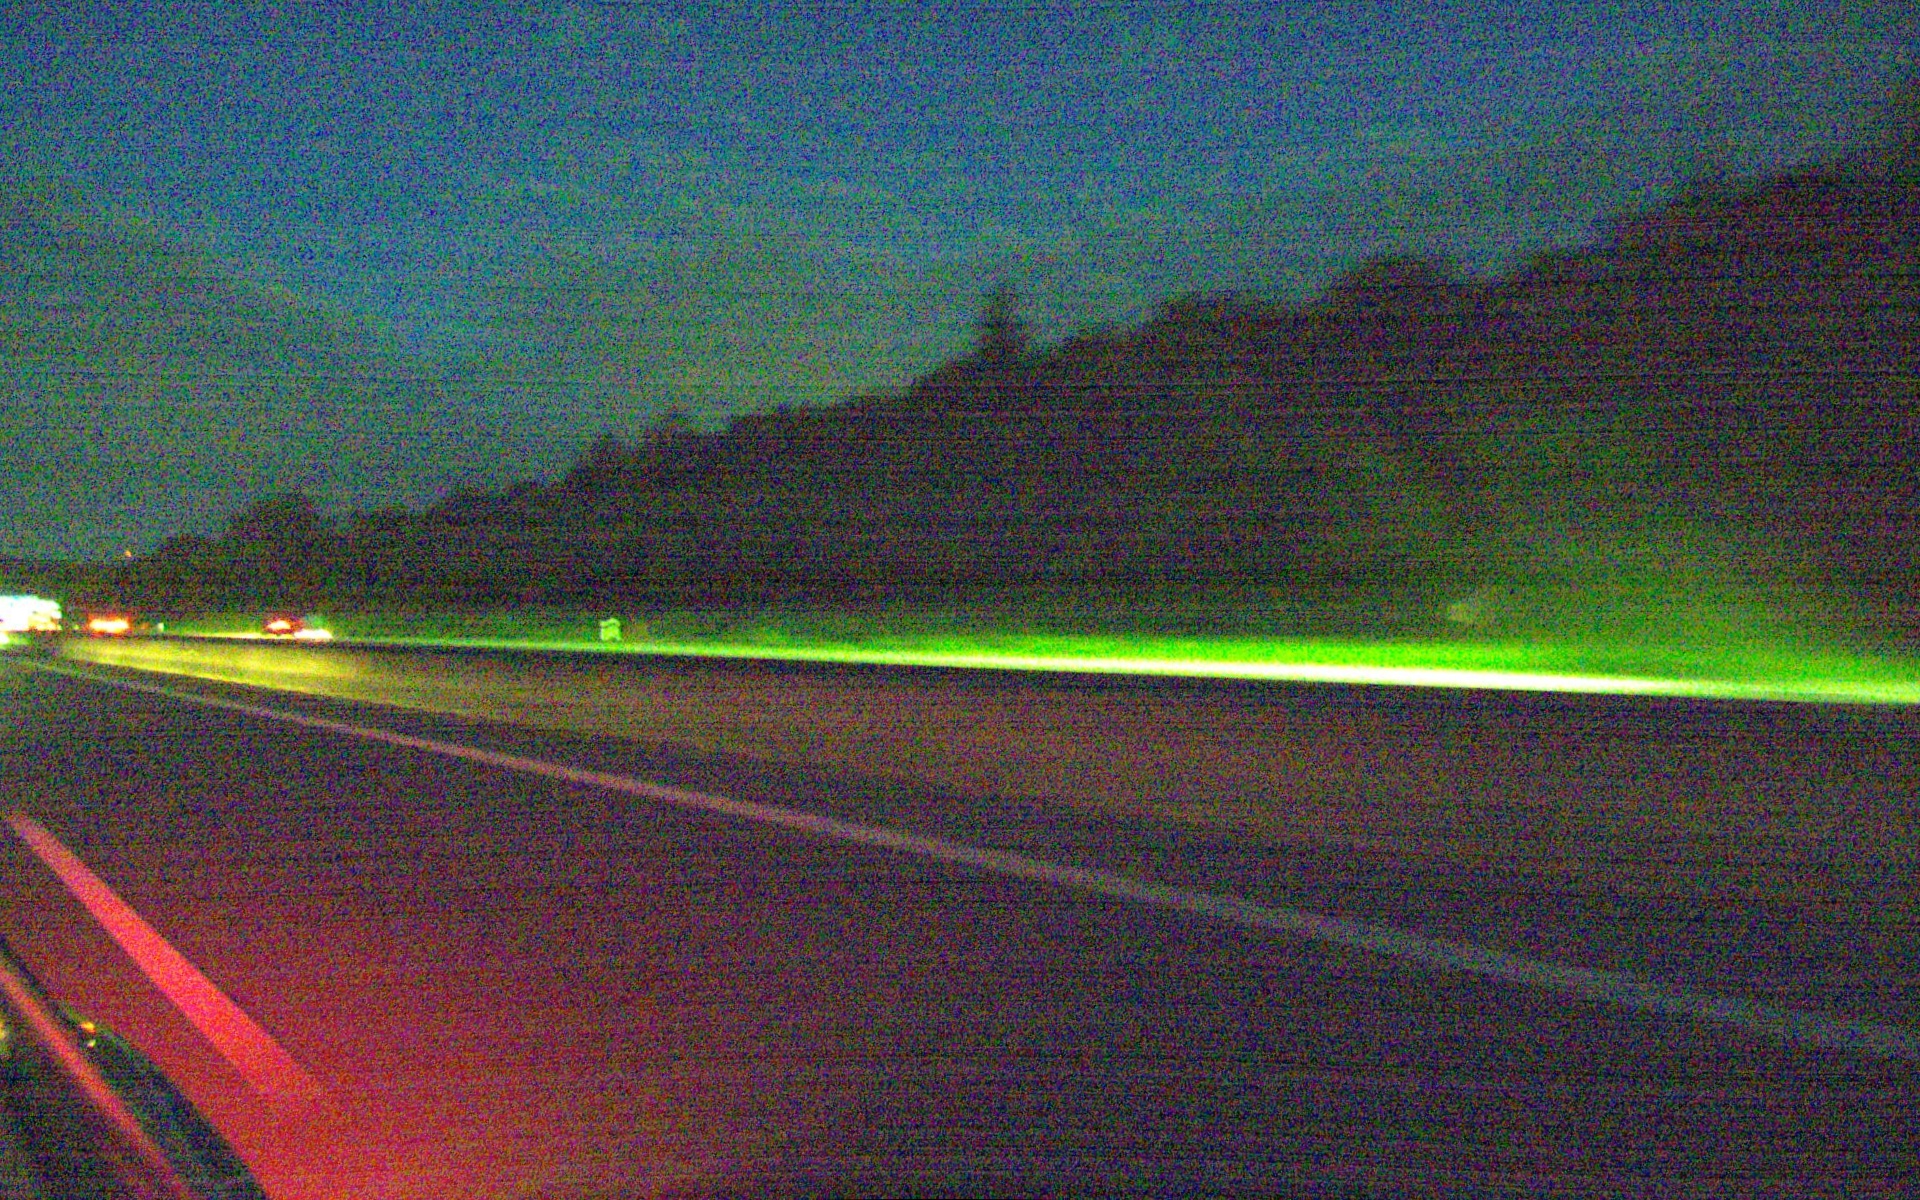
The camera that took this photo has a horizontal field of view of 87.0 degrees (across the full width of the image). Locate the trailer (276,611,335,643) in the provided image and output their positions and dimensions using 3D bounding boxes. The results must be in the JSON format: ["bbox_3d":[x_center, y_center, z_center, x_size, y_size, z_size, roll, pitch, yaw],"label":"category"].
[{"bbox_3d":[-37.892,1.533,58.569,3.843,1.760,1.876,-1,-1,42],"label":"trailer"}]

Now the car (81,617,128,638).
[{"bbox_3d":[-70.579,2.270,83.499,4.885,1.610,2.221,-2,-1,41],"label":"car"}]

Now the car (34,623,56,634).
[{"bbox_3d":[-148.620,4.682,164.409,4.886,1.681,2.220,-2,-1,42],"label":"car"}]

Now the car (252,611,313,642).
[{"bbox_3d":[-41.181,1.611,61.491,4.878,1.760,1.894,-1,-1,41],"label":"car"}]

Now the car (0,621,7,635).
[{"bbox_3d":[-117.334,3.444,122.724,4.886,1.732,2.220,-2,-1,42],"label":"car"}]
